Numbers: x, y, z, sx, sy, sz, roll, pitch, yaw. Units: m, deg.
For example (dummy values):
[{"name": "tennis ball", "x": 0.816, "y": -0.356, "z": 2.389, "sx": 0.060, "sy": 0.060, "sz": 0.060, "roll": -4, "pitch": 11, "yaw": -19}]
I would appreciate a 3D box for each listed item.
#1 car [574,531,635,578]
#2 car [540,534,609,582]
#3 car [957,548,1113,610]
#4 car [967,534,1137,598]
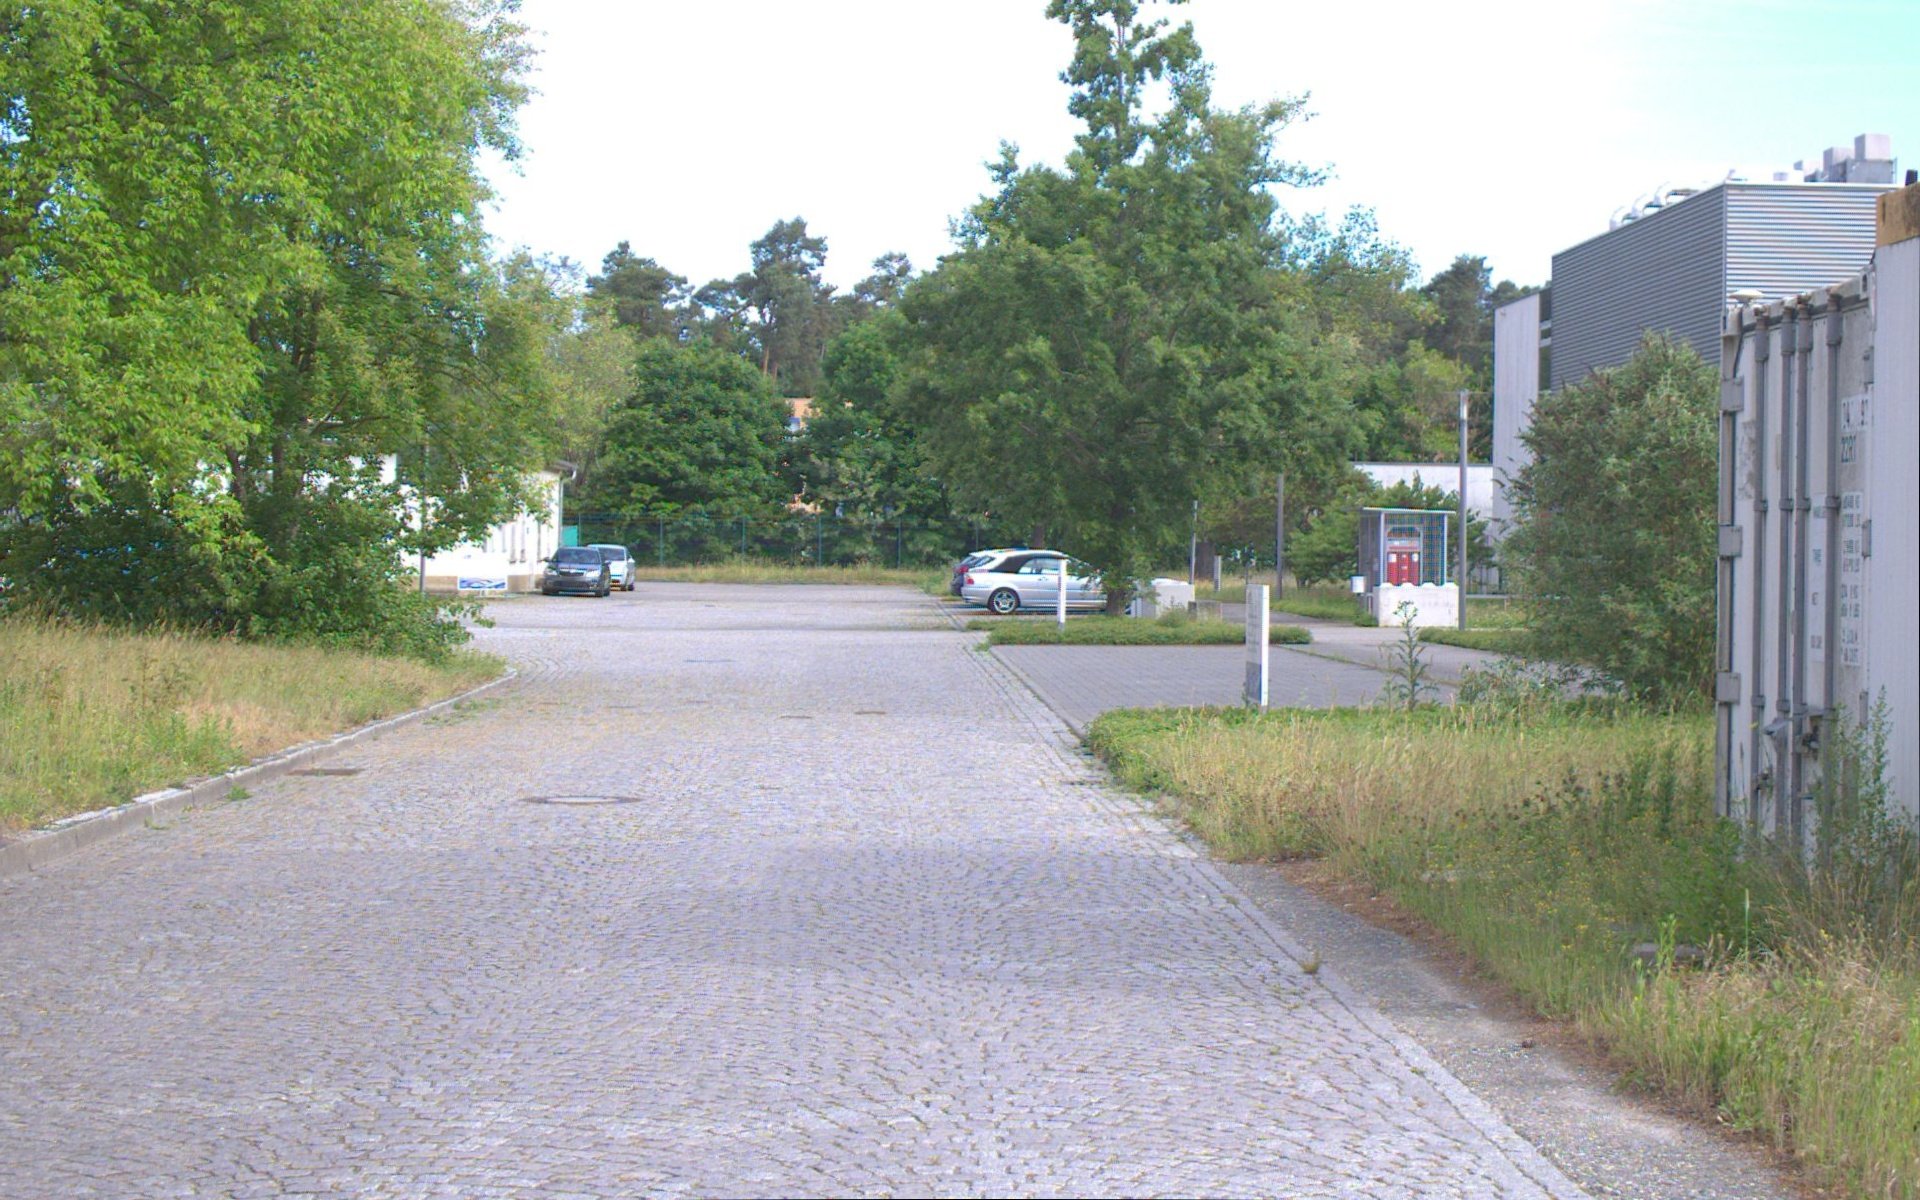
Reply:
[{"name": "car", "x": -11.472, "y": -1.487, "z": 111.099, "sx": 1.647, "sy": 1.453, "sz": 3.998, "roll": 1, "pitch": 1, "yaw": -1}, {"name": "car", "x": -11.292, "y": -1.242, "z": 100.760, "sx": 1.647, "sy": 1.364, "sz": 3.998, "roll": 1, "pitch": 1, "yaw": -1}, {"name": "car", "x": 1.710, "y": -0.495, "z": 79.452, "sx": 3.522, "sy": 1.357, "sz": 1.622, "roll": -1, "pitch": 1, "yaw": -1}, {"name": "car", "x": 2.174, "y": -0.815, "z": 82.152, "sx": 3.984, "sy": 1.443, "sz": 1.653, "roll": -1, "pitch": 1, "yaw": -1}]
